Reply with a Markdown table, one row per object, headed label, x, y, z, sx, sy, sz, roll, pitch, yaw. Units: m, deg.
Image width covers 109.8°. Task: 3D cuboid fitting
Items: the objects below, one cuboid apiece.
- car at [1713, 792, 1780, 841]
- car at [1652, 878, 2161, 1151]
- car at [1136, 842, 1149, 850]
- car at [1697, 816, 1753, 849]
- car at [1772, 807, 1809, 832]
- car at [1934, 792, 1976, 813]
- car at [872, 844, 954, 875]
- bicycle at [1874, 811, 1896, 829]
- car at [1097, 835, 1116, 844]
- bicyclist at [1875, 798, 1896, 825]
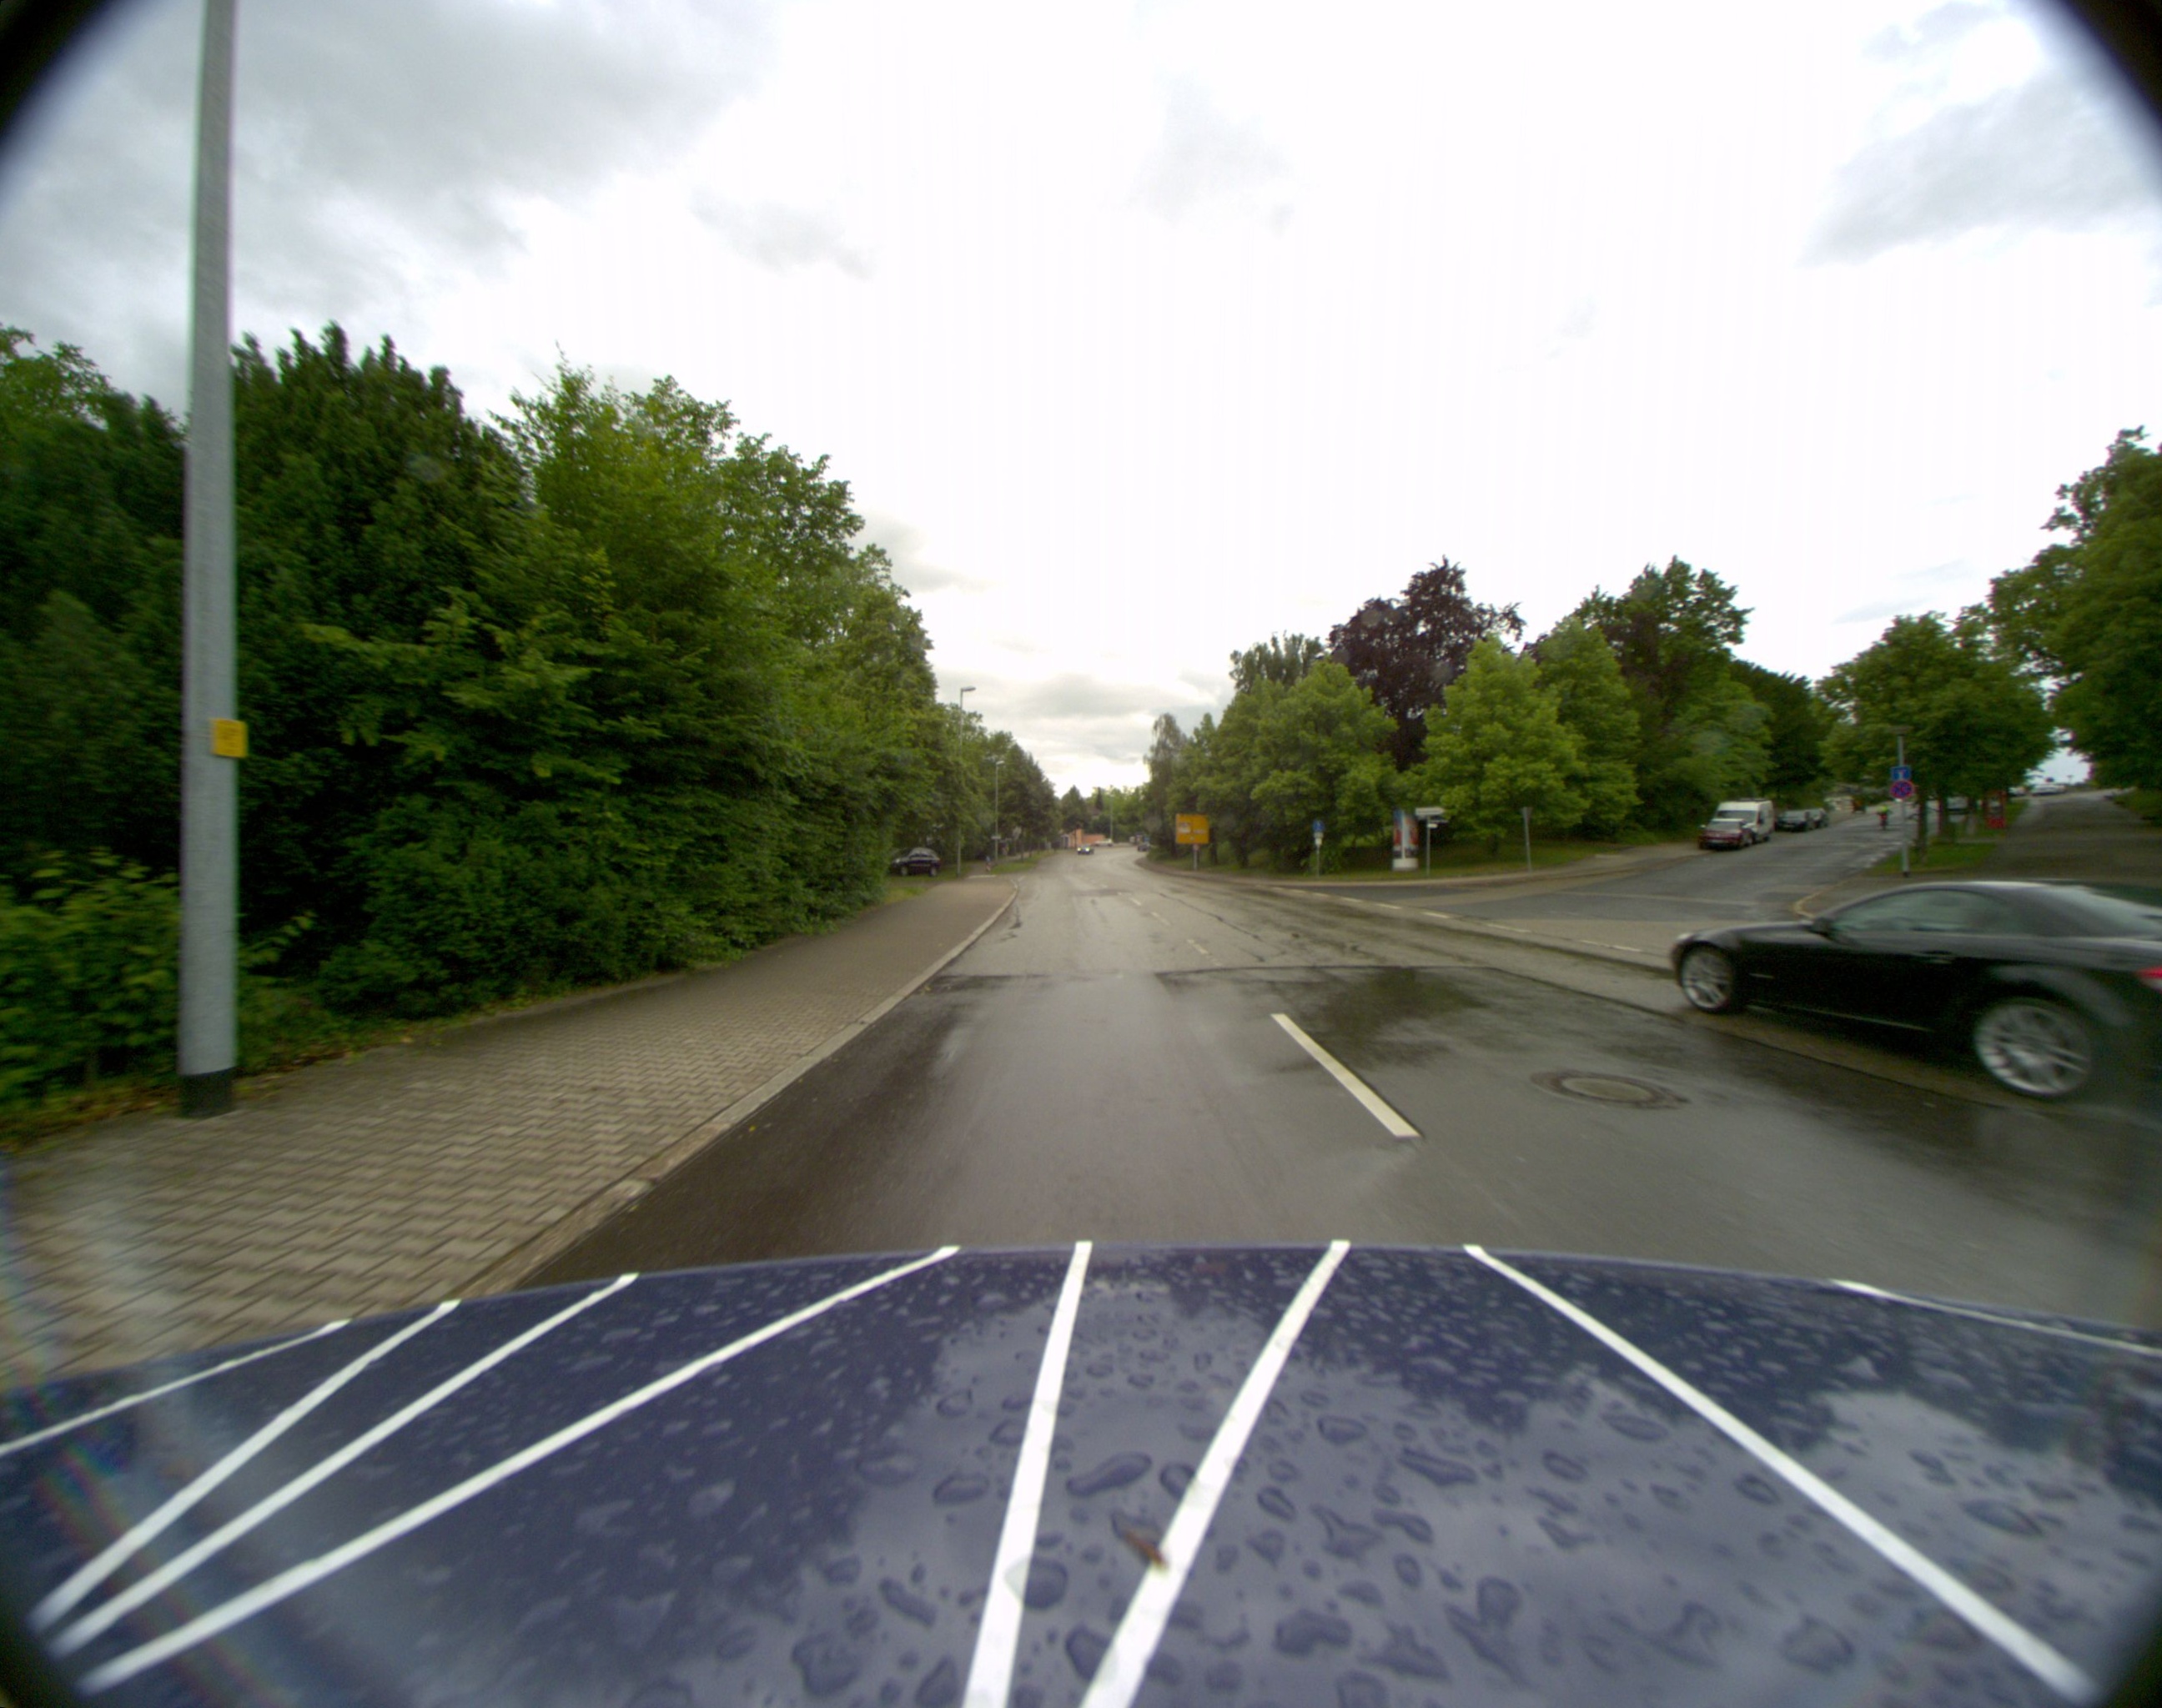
| label | x | y | z | sx | sy | sz | roll | pitch | yaw |
| --- | --- | --- | --- | --- | --- | --- | --- | --- | --- |
| car | 39.560 | -2.207 | 45.111 | 5.681 | 2.684 | 2.151 | -3 | 1 | -40 |
| car | 6.446 | 0.902 | 5.478 | 1.664 | 1.299 | 4.084 | 2 | 0 | 2 |
| car | 11.014 | -1.406 | 135.267 | 1.724 | 1.376 | 4.143 | 2 | 1 | 13 |
| car | 35.307 | -1.188 | 41.651 | 4.007 | 1.659 | 1.972 | -3 | 1 | -44 |
| car | 50.713 | -2.465 | 54.293 | 1.822 | 1.659 | 4.008 | -1 | 1 | 44 |
| car | 76.664 | -4.513 | 66.646 | 4.210 | 1.660 | 1.871 | -4 | 1 | -34 |
| car | -9.560 | 0.368 | 43.776 | 1.949 | 1.679 | 4.913 | -1 | -2 | 27 |
| bicycle | 52.661 | -2.204 | 49.781 | 0.852 | 1.149 | 2.042 | 3 | 4 | 44 |
| car | 5.349 | -3.042 | 159.022 | 3.864 | 1.557 | 1.728 | 2 | 2 | 10 |
| bicyclist | 52.683 | -2.766 | 49.774 | 0.852 | 1.746 | 1.288 | 3 | 4 | 44 |
